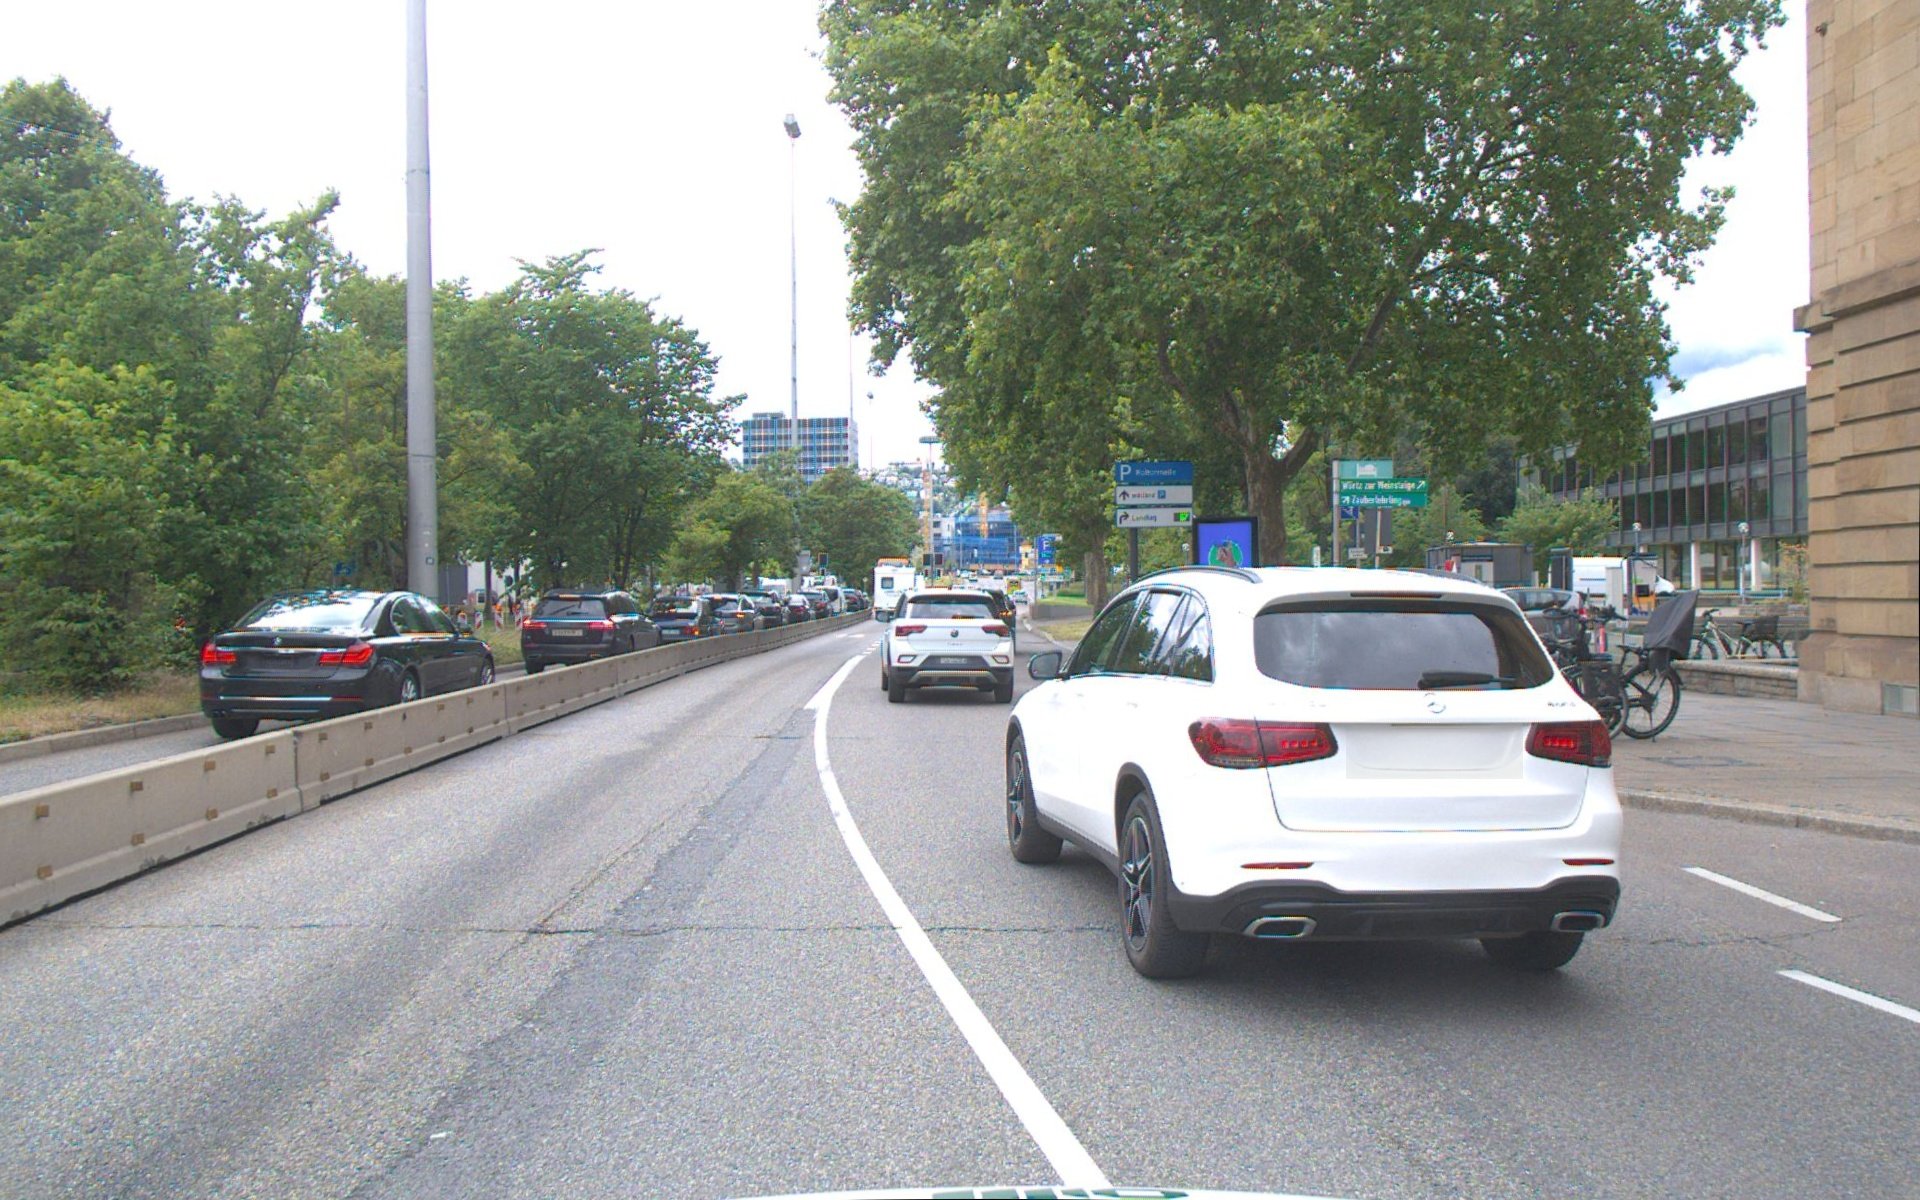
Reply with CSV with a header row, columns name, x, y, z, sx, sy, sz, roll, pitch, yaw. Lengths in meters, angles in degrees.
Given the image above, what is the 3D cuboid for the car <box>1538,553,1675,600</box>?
name,x,y,z,sx,sy,sz,roll,pitch,yaw
car,32.626,-1.153,83.557,5.981,2.300,2.402,0,0,2

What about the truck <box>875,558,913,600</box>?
name,x,y,z,sx,sy,sz,roll,pitch,yaw
truck,-4.945,-1.549,124.764,2.637,3.044,5.636,2,0,-1

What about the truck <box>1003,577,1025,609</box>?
name,x,y,z,sx,sy,sz,roll,pitch,yaw
truck,7.155,-0.894,219.526,2.818,4.175,6.638,1,0,1

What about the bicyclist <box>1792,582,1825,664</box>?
name,x,y,z,sx,sy,sz,roll,pitch,yaw
bicyclist,18.380,0.494,35.818,0.428,1.778,0.474,0,0,-8

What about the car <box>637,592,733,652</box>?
name,x,y,z,sx,sy,sz,roll,pitch,yaw
car,-6.751,0.513,41.052,1.644,1.391,4.542,-1,0,-1

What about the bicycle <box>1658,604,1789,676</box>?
name,x,y,z,sx,sy,sz,roll,pitch,yaw
bicycle,12.431,0.646,26.941,1.970,1.145,0.389,0,0,-1

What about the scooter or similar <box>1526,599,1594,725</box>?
name,x,y,z,sx,sy,sz,roll,pitch,yaw
scooter or similar,6.193,0.623,17.109,0.416,1.245,1.313,1,-1,9

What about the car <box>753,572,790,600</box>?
name,x,y,z,sx,sy,sz,roll,pitch,yaw
car,-13.905,-1.004,122.467,2.072,2.004,5.578,-1,0,0

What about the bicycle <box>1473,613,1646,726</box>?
name,x,y,z,sx,sy,sz,roll,pitch,yaw
bicycle,5.844,0.667,16.179,1.529,1.046,0.436,1,0,11

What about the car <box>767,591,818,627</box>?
name,x,y,z,sx,sy,sz,roll,pitch,yaw
car,-6.503,0.354,64.522,1.625,1.343,3.547,0,0,-1

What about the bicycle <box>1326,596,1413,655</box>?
name,x,y,z,sx,sy,sz,roll,pitch,yaw
bicycle,8.759,0.535,35.382,1.748,1.242,0.492,0,0,2

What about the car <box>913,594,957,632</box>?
name,x,y,z,sx,sy,sz,roll,pitch,yaw
car,-0.959,0.509,64.318,1.625,1.438,3.547,0,0,-1

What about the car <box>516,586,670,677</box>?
name,x,y,z,sx,sy,sz,roll,pitch,yaw
car,-6.632,0.523,30.379,1.779,1.525,4.768,-1,0,0

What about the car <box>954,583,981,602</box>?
name,x,y,z,sx,sy,sz,roll,pitch,yaw
car,0.569,-0.553,120.441,1.907,1.343,4.017,0,0,1

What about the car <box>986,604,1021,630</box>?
name,x,y,z,sx,sy,sz,roll,pitch,yaw
car,2.438,0.932,93.481,1.907,1.453,4.017,0,0,1

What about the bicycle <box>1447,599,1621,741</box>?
name,x,y,z,sx,sy,sz,roll,pitch,yaw
bicycle,5.399,0.641,15.599,1.510,1.279,0.543,1,0,18

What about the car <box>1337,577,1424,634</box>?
name,x,y,z,sx,sy,sz,roll,pitch,yaw
car,12.952,0.138,51.159,1.724,1.579,4.028,-1,2,1

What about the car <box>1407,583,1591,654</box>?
name,x,y,z,sx,sy,sz,roll,pitch,yaw
car,12.562,0.423,38.688,3.757,1.596,1.679,0,0,0

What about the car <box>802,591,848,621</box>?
name,x,y,z,sx,sy,sz,roll,pitch,yaw
car,-6.076,0.267,74.838,1.624,1.343,3.548,0,0,3

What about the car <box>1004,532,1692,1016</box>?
name,x,y,z,sx,sy,sz,roll,pitch,yaw
car,1.445,0.599,7.984,1.754,1.653,4.429,0,0,-8

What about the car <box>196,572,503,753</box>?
name,x,y,z,sx,sy,sz,roll,pitch,yaw
car,-6.347,0.585,17.839,1.886,1.664,4.931,0,0,-5

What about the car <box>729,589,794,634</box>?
name,x,y,z,sx,sy,sz,roll,pitch,yaw
car,-6.651,0.370,55.744,1.740,1.445,3.999,-1,0,-1

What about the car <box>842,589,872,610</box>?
name,x,y,z,sx,sy,sz,roll,pitch,yaw
car,-6.639,-0.038,106.640,1.625,1.343,3.548,0,0,1

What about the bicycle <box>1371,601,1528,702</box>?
name,x,y,z,sx,sy,sz,roll,pitch,yaw
bicycle,5.603,0.583,18.980,1.691,1.110,0.381,1,0,12

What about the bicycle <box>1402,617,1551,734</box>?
name,x,y,z,sx,sy,sz,roll,pitch,yaw
bicycle,5.324,0.764,17.022,1.590,1.150,0.466,1,0,-27

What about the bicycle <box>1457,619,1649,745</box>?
name,x,y,z,sx,sy,sz,roll,pitch,yaw
bicycle,5.411,0.731,15.153,1.628,1.093,0.585,0,0,19

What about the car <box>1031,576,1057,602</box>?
name,x,y,z,sx,sy,sz,roll,pitch,yaw
car,6.684,-0.837,131.759,1.952,2.049,4.000,0,0,1

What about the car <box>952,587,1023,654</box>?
name,x,y,z,sx,sy,sz,roll,pitch,yaw
car,0.679,0.511,42.894,1.626,1.668,3.545,0,0,-3

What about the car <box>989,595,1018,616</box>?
name,x,y,z,sx,sy,sz,roll,pitch,yaw
car,2.865,0.339,109.830,1.907,1.343,4.017,0,0,1

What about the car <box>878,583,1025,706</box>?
name,x,y,z,sx,sy,sz,roll,pitch,yaw
car,-0.195,0.593,23.956,1.761,1.636,3.750,0,0,-6

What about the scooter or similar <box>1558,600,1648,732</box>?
name,x,y,z,sx,sy,sz,roll,pitch,yaw
scooter or similar,6.573,0.651,16.947,0.550,1.301,1.149,1,0,5

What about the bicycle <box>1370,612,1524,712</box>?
name,x,y,z,sx,sy,sz,roll,pitch,yaw
bicycle,5.707,0.717,19.450,1.691,1.110,0.426,1,0,12

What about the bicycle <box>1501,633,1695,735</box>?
name,x,y,z,sx,sy,sz,roll,pitch,yaw
bicycle,6.096,0.794,15.886,1.692,0.933,0.614,0,0,18

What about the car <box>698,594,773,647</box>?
name,x,y,z,sx,sy,sz,roll,pitch,yaw
car,-6.394,0.581,47.462,1.627,1.461,3.960,0,0,-1

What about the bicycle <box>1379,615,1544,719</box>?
name,x,y,z,sx,sy,sz,roll,pitch,yaw
bicycle,5.617,0.744,18.586,1.691,1.110,0.575,1,0,8

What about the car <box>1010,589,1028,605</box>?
name,x,y,z,sx,sy,sz,roll,pitch,yaw
car,6.373,-0.349,179.043,1.722,1.698,4.168,0,0,0

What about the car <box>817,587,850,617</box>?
name,x,y,z,sx,sy,sz,roll,pitch,yaw
car,-6.648,0.110,87.191,1.626,1.540,3.545,0,-1,-2

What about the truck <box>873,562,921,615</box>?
name,x,y,z,sx,sy,sz,roll,pitch,yaw
truck,-3.595,-0.652,96.035,2.567,2.911,7.077,1,0,-1

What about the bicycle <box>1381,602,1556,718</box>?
name,x,y,z,sx,sy,sz,roll,pitch,yaw
bicycle,5.563,0.646,18.129,1.723,1.230,0.604,1,0,-4

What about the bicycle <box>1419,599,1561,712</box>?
name,x,y,z,sx,sy,sz,roll,pitch,yaw
bicycle,5.569,0.574,17.360,1.590,1.150,0.405,1,0,-27
